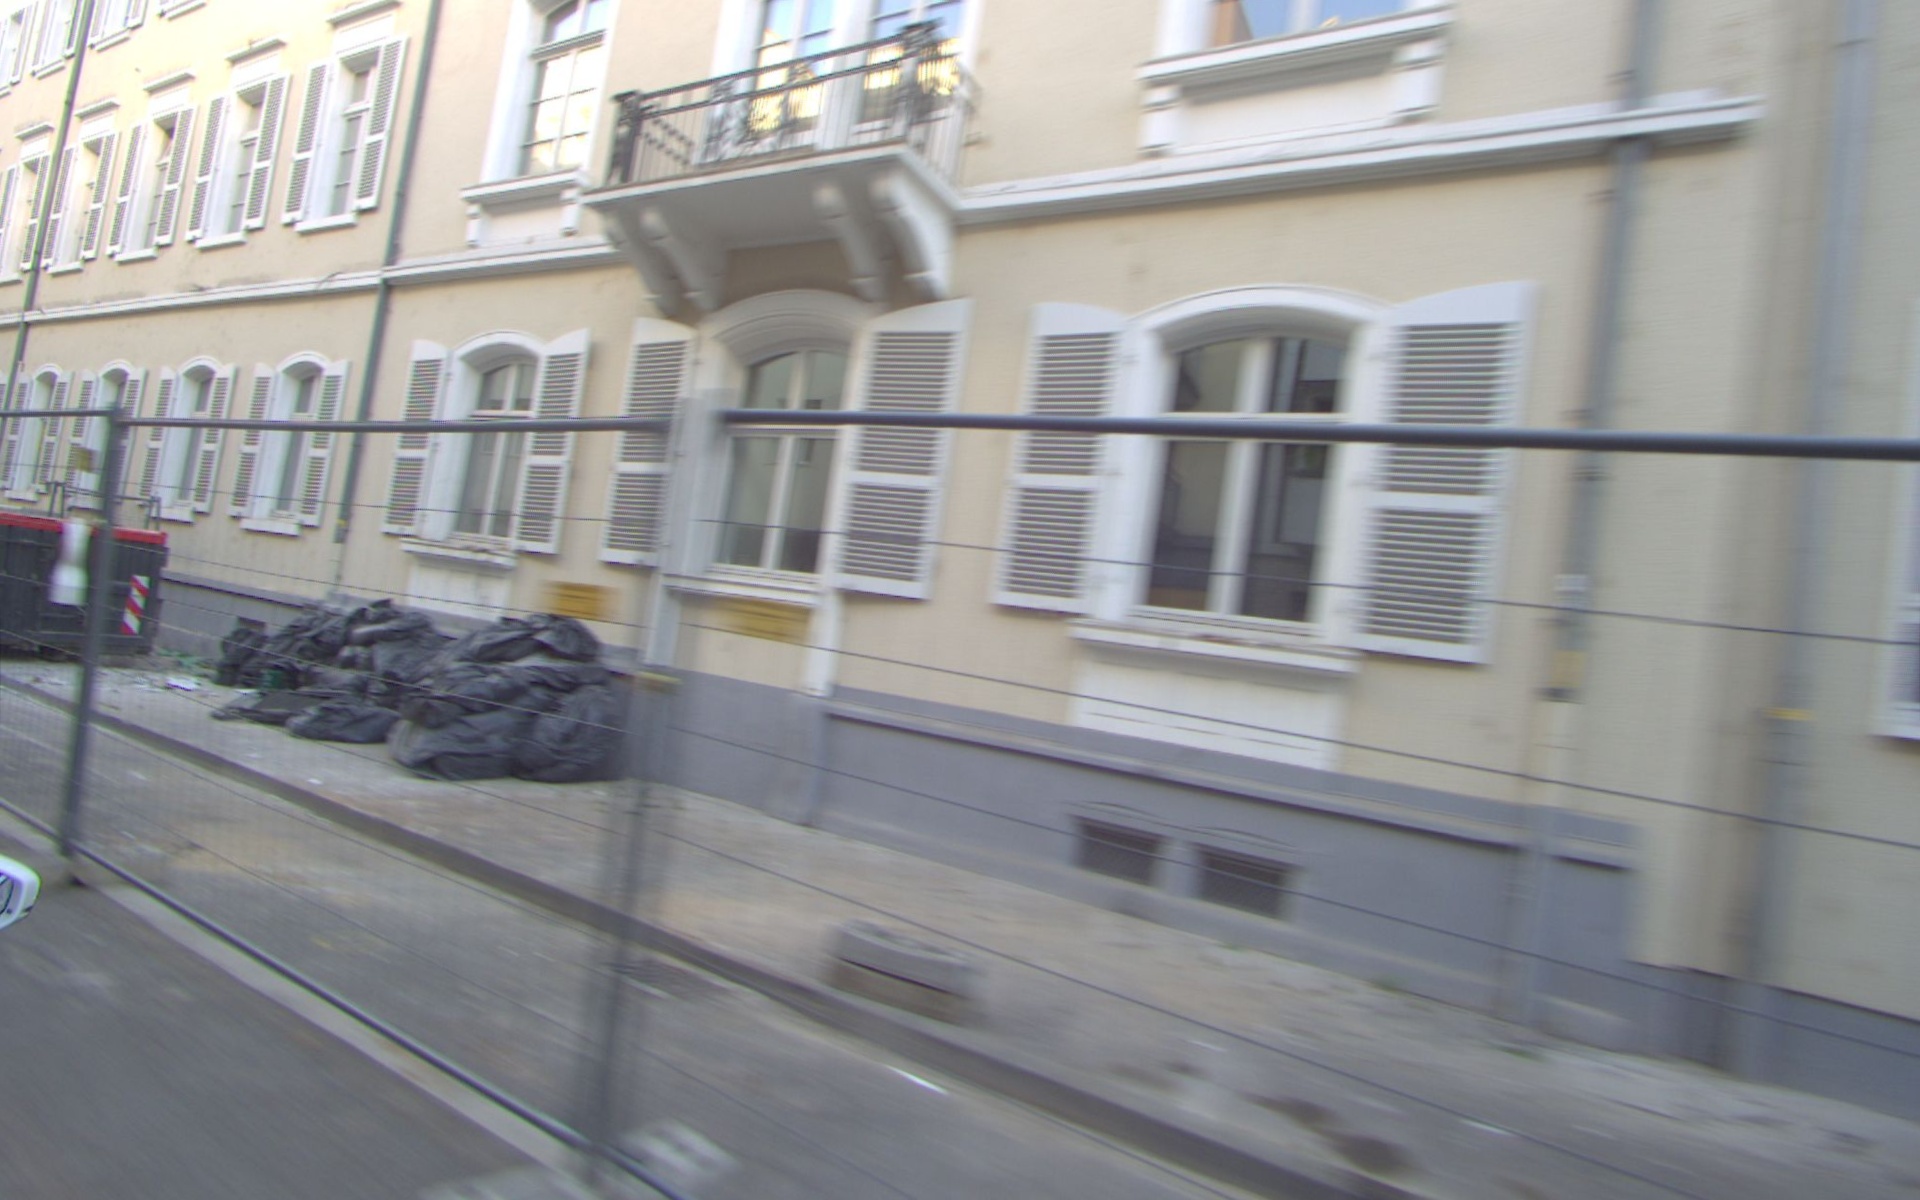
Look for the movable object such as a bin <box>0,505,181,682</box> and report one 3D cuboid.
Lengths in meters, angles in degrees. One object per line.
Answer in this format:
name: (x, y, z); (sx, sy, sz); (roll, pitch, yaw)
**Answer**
movable object such as a bin: (-12.737, -0.487, 11.882); (7.169, 1.683, 2.900); (7, -3, 29)
